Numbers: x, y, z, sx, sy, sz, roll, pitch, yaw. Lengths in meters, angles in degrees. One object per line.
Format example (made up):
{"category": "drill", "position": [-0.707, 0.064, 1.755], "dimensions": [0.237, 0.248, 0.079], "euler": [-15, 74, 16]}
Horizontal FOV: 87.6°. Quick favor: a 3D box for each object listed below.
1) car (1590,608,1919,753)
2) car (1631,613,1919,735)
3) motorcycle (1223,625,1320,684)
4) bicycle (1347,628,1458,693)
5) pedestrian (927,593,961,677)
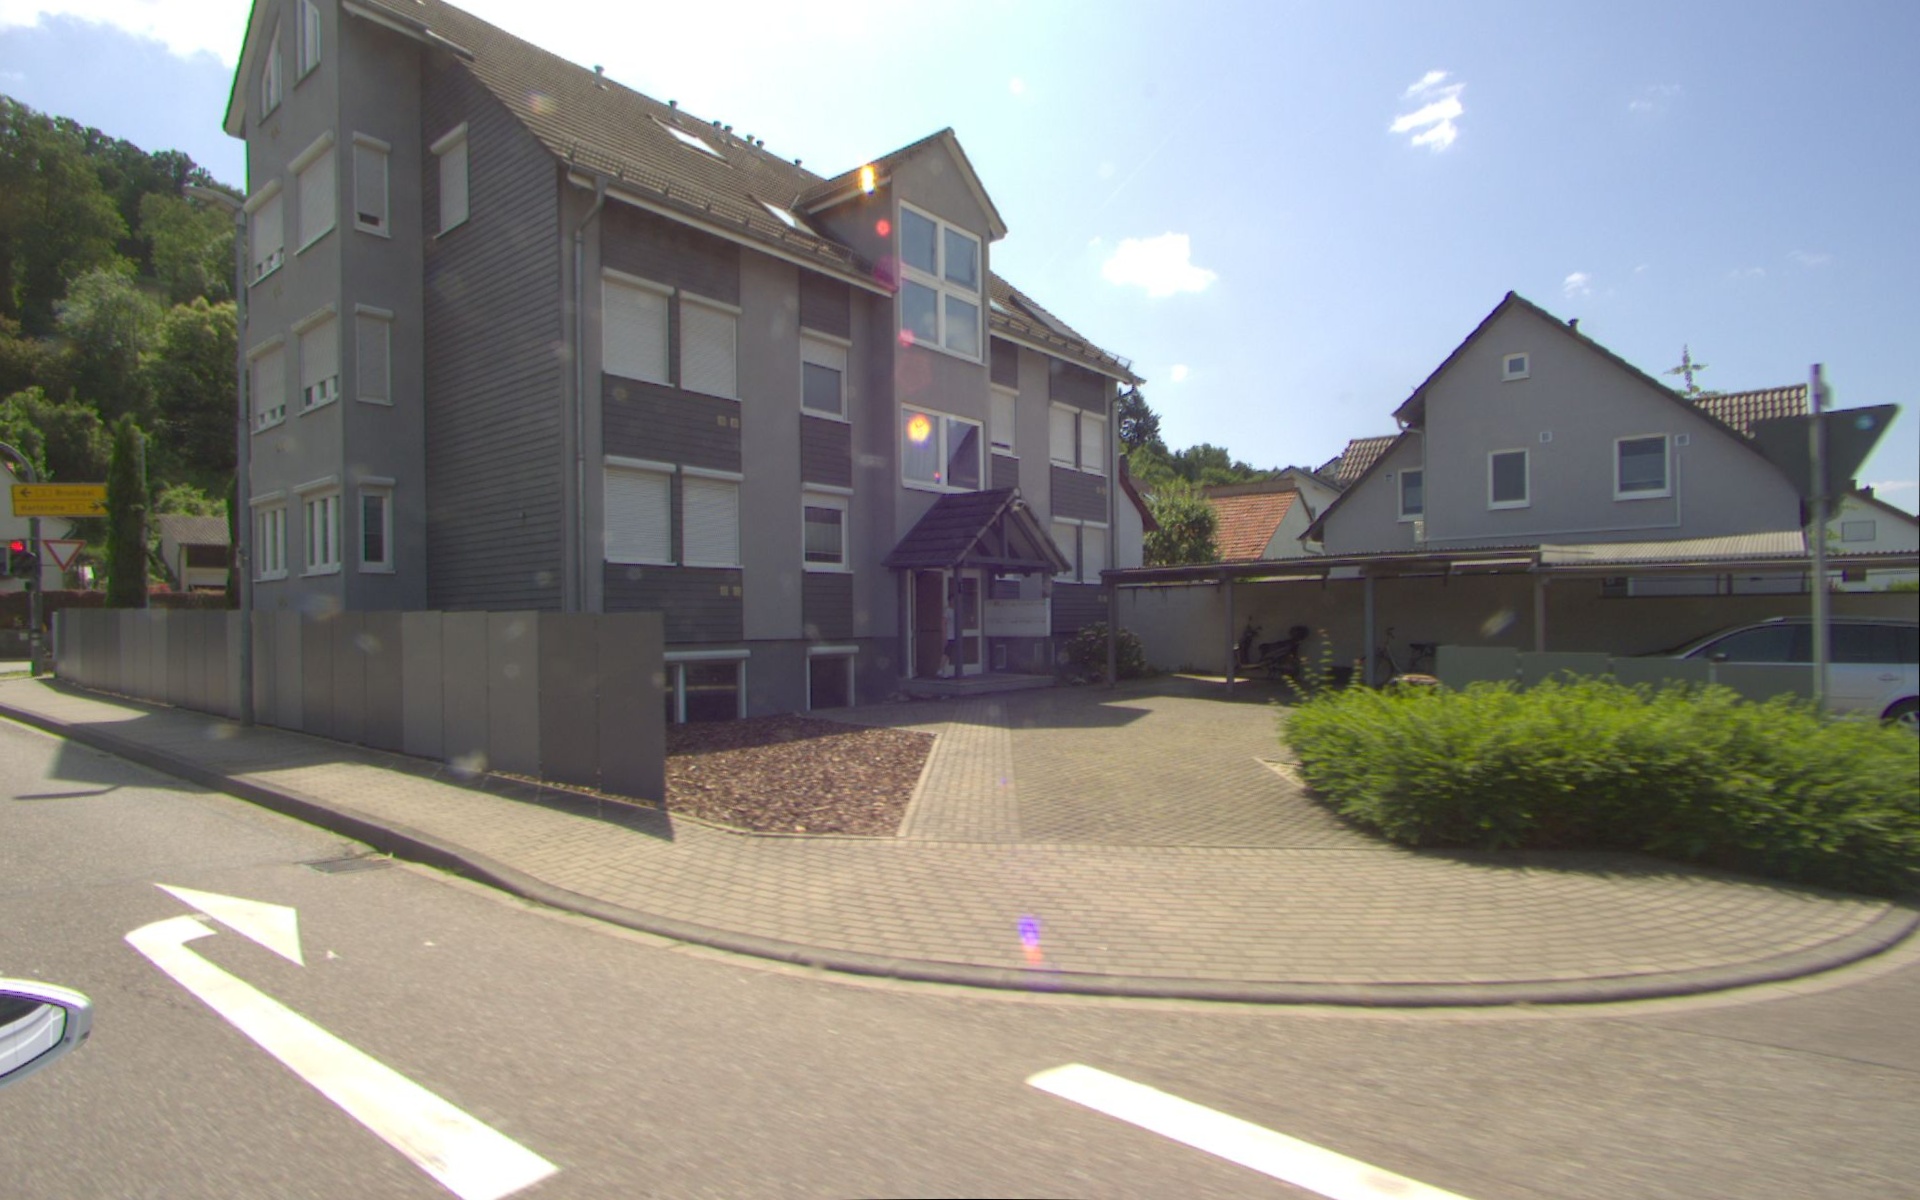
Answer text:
{"category": "car", "position": [11.240, 1.007, 13.763], "dimensions": [4.163, 1.671, 1.729], "euler": [2, 1, 39]}
{"category": "car", "position": [12.904, 1.071, 15.680], "dimensions": [3.805, 1.608, 1.729], "euler": [2, 1, 39]}
{"category": "motorcycle", "position": [6.854, 1.173, 22.082], "dimensions": [1.929, 1.179, 0.645], "euler": [2, 1, 40]}
{"category": "bicycle", "position": [8.968, 1.202, 20.347], "dimensions": [1.929, 1.188, 0.645], "euler": [2, 1, 40]}
{"category": "pedestrian", "position": [-0.293, 0.642, 18.785], "dimensions": [0.474, 1.549, 0.534], "euler": [0, 0, 18]}
